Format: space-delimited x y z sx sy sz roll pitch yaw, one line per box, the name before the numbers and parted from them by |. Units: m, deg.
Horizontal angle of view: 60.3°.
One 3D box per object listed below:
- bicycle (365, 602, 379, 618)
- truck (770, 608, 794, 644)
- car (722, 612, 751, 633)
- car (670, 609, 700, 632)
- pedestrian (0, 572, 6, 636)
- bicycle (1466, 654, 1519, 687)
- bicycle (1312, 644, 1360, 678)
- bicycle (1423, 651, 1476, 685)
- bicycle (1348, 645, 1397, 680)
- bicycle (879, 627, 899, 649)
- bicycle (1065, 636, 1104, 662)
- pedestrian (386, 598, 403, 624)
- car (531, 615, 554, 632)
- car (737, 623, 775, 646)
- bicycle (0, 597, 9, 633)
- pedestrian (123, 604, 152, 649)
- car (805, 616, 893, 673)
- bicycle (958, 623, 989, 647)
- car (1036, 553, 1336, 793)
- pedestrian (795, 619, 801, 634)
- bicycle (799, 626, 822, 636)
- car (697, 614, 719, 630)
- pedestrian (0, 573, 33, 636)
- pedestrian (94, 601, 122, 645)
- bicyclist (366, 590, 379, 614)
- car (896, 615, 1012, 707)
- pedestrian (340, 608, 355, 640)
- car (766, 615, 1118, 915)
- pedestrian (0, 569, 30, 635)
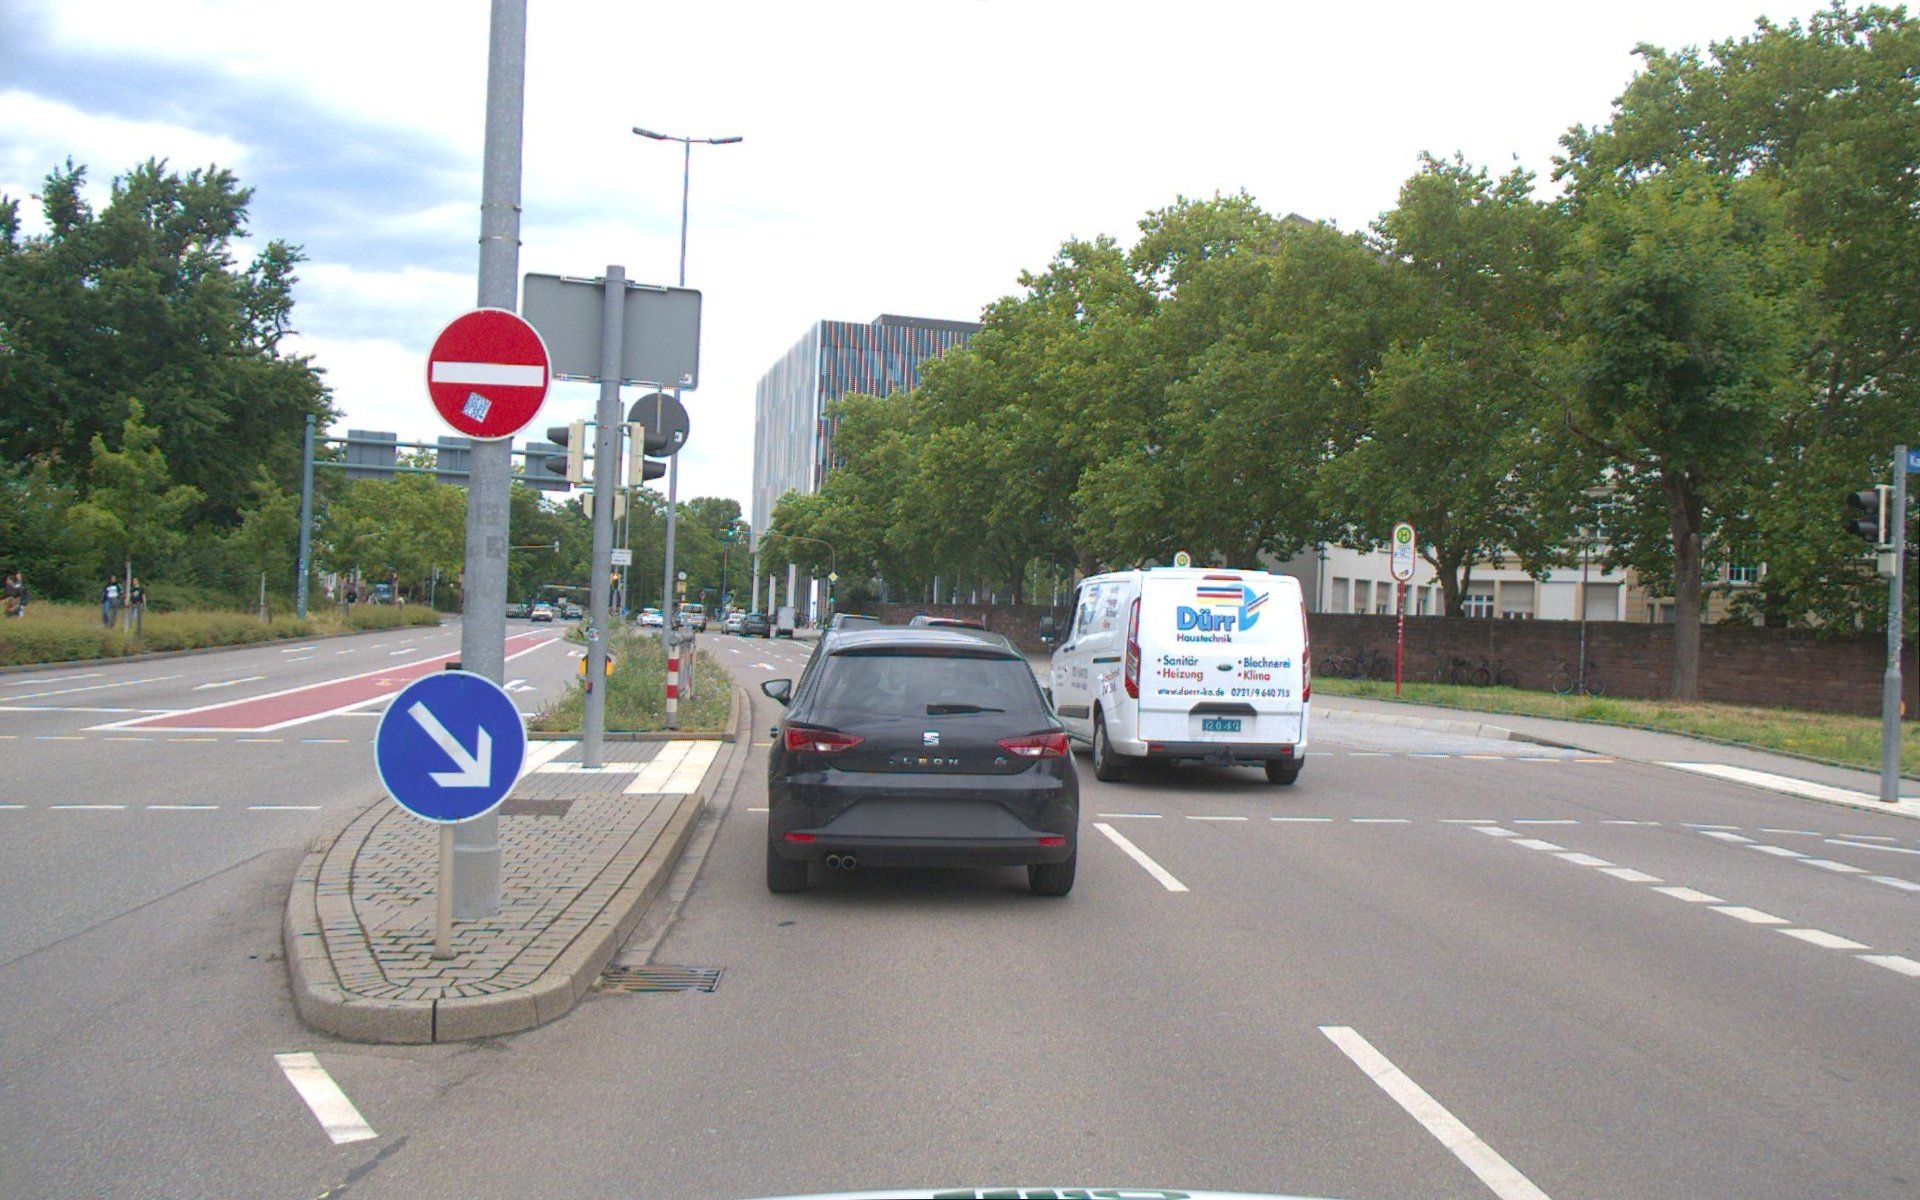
bicycle | -42.226 0.707 118.732 0.658 1.081 1.604 4 -2 -28
truck | -11.643 1.680 108.014 1.294 2.283 3.392 1 0 -11
car | -15.470 1.569 114.329 1.588 1.378 3.985 1 0 -14
car | -18.911 1.411 113.464 1.667 1.530 3.994 1 0 -15
pedestrian | -25.991 0.095 44.179 0.695 1.702 0.764 1 -1 -17
bicycle | 17.349 2.297 53.886 0.546 1.009 1.614 1 0 -39
bicycle | 13.529 2.171 59.522 0.589 1.156 1.691 1 0 -36
bicycle | 16.361 2.264 55.276 0.589 1.078 1.691 1 0 -36
bicycle | 14.476 2.185 58.092 0.589 1.149 1.691 1 0 -36
bicycle | -4.175 2.220 97.167 0.790 1.194 1.946 0 0 -16
bicycle | 5.523 2.176 73.497 0.714 1.119 1.766 1 0 -40
pedestrian | -40.102 0.771 117.253 0.815 1.770 0.838 -4 -6 40
car | -35.074 1.952 138.886 1.579 1.405 3.799 1 0 -11
car | -12.635 2.125 102.429 1.867 1.378 3.868 1 0 -14
bicycle | -24.504 0.379 41.188 0.647 0.903 1.715 1 0 0
pedestrian | -25.789 0.835 51.876 0.634 1.382 0.709 1 -1 -14
car | -3.591 1.398 52.719 1.884 1.693 4.094 1 0 -18
bicycle | 0.700 1.792 84.910 0.837 1.147 1.907 1 0 -25
car | 2.124 0.716 16.839 1.929 2.007 4.337 4 -2 -6
pedestrian | -15.232 2.530 155.575 0.462 1.385 0.445 1 -1 -1
bicycle | -12.941 2.682 143.277 1.867 0.914 0.690 1 -1 -32
car | -20.409 1.798 134.009 1.480 1.215 3.151 1 0 -14
pedestrian | -25.305 0.120 44.375 0.576 1.689 0.717 1 -1 -17
pedestrian | -26.662 0.717 51.764 0.634 1.386 0.678 1 -1 -14
bicyclist | -42.210 0.175 118.775 0.658 1.664 0.952 5 -3 -28
car | -0.187 1.208 34.029 1.912 1.652 3.744 4 -1 -6
pedestrian | -33.849 1.301 91.421 0.609 1.759 0.816 1 -1 -11
car | -0.293 0.872 10.116 1.720 1.458 3.763 2 -1 -7
pedestrian | -23.711 0.049 41.346 0.563 1.637 0.616 1 -1 -3
